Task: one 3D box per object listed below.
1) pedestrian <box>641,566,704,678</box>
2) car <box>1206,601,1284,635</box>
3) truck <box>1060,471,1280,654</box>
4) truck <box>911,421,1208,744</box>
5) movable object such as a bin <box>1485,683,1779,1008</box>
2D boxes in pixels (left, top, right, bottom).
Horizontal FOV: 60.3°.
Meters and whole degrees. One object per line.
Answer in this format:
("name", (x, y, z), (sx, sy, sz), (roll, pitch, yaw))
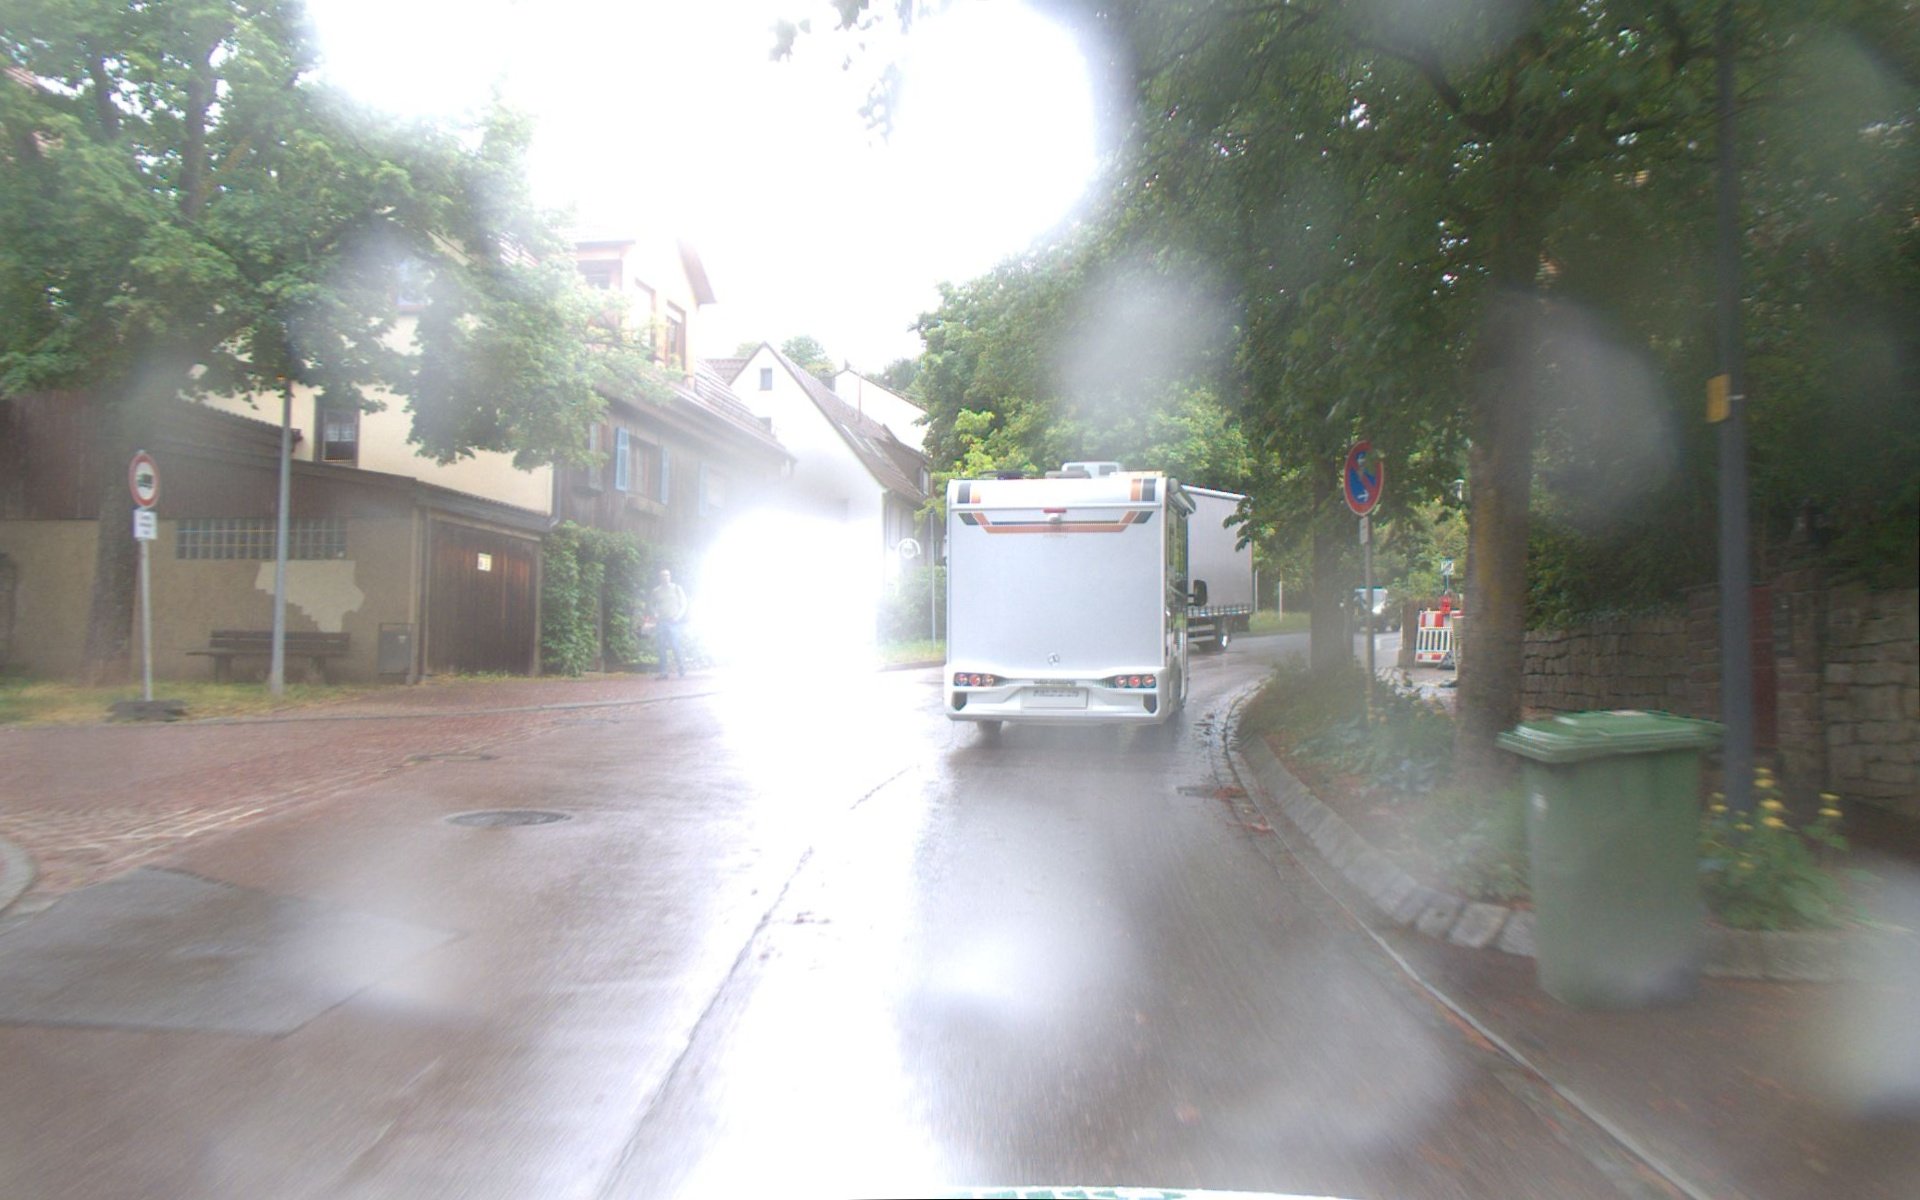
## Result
("pedestrian", (-4.957, 0.380, 28.580), (0.776, 1.901, 0.917), (1, -1, 11))
("car", (15.593, 0.967, 90.676), (3.906, 1.793, 1.999), (1, -1, -1))
("truck", (5.776, -0.856, 43.430), (2.782, 4.239, 9.969), (1, 0, 25))
("truck", (1.388, -0.218, 18.835), (2.637, 3.038, 6.242), (1, 1, 10))
("movable object such as a bin", (2.597, 0.918, 6.488), (0.753, 1.126, 0.884), (-1, 0, -2))
